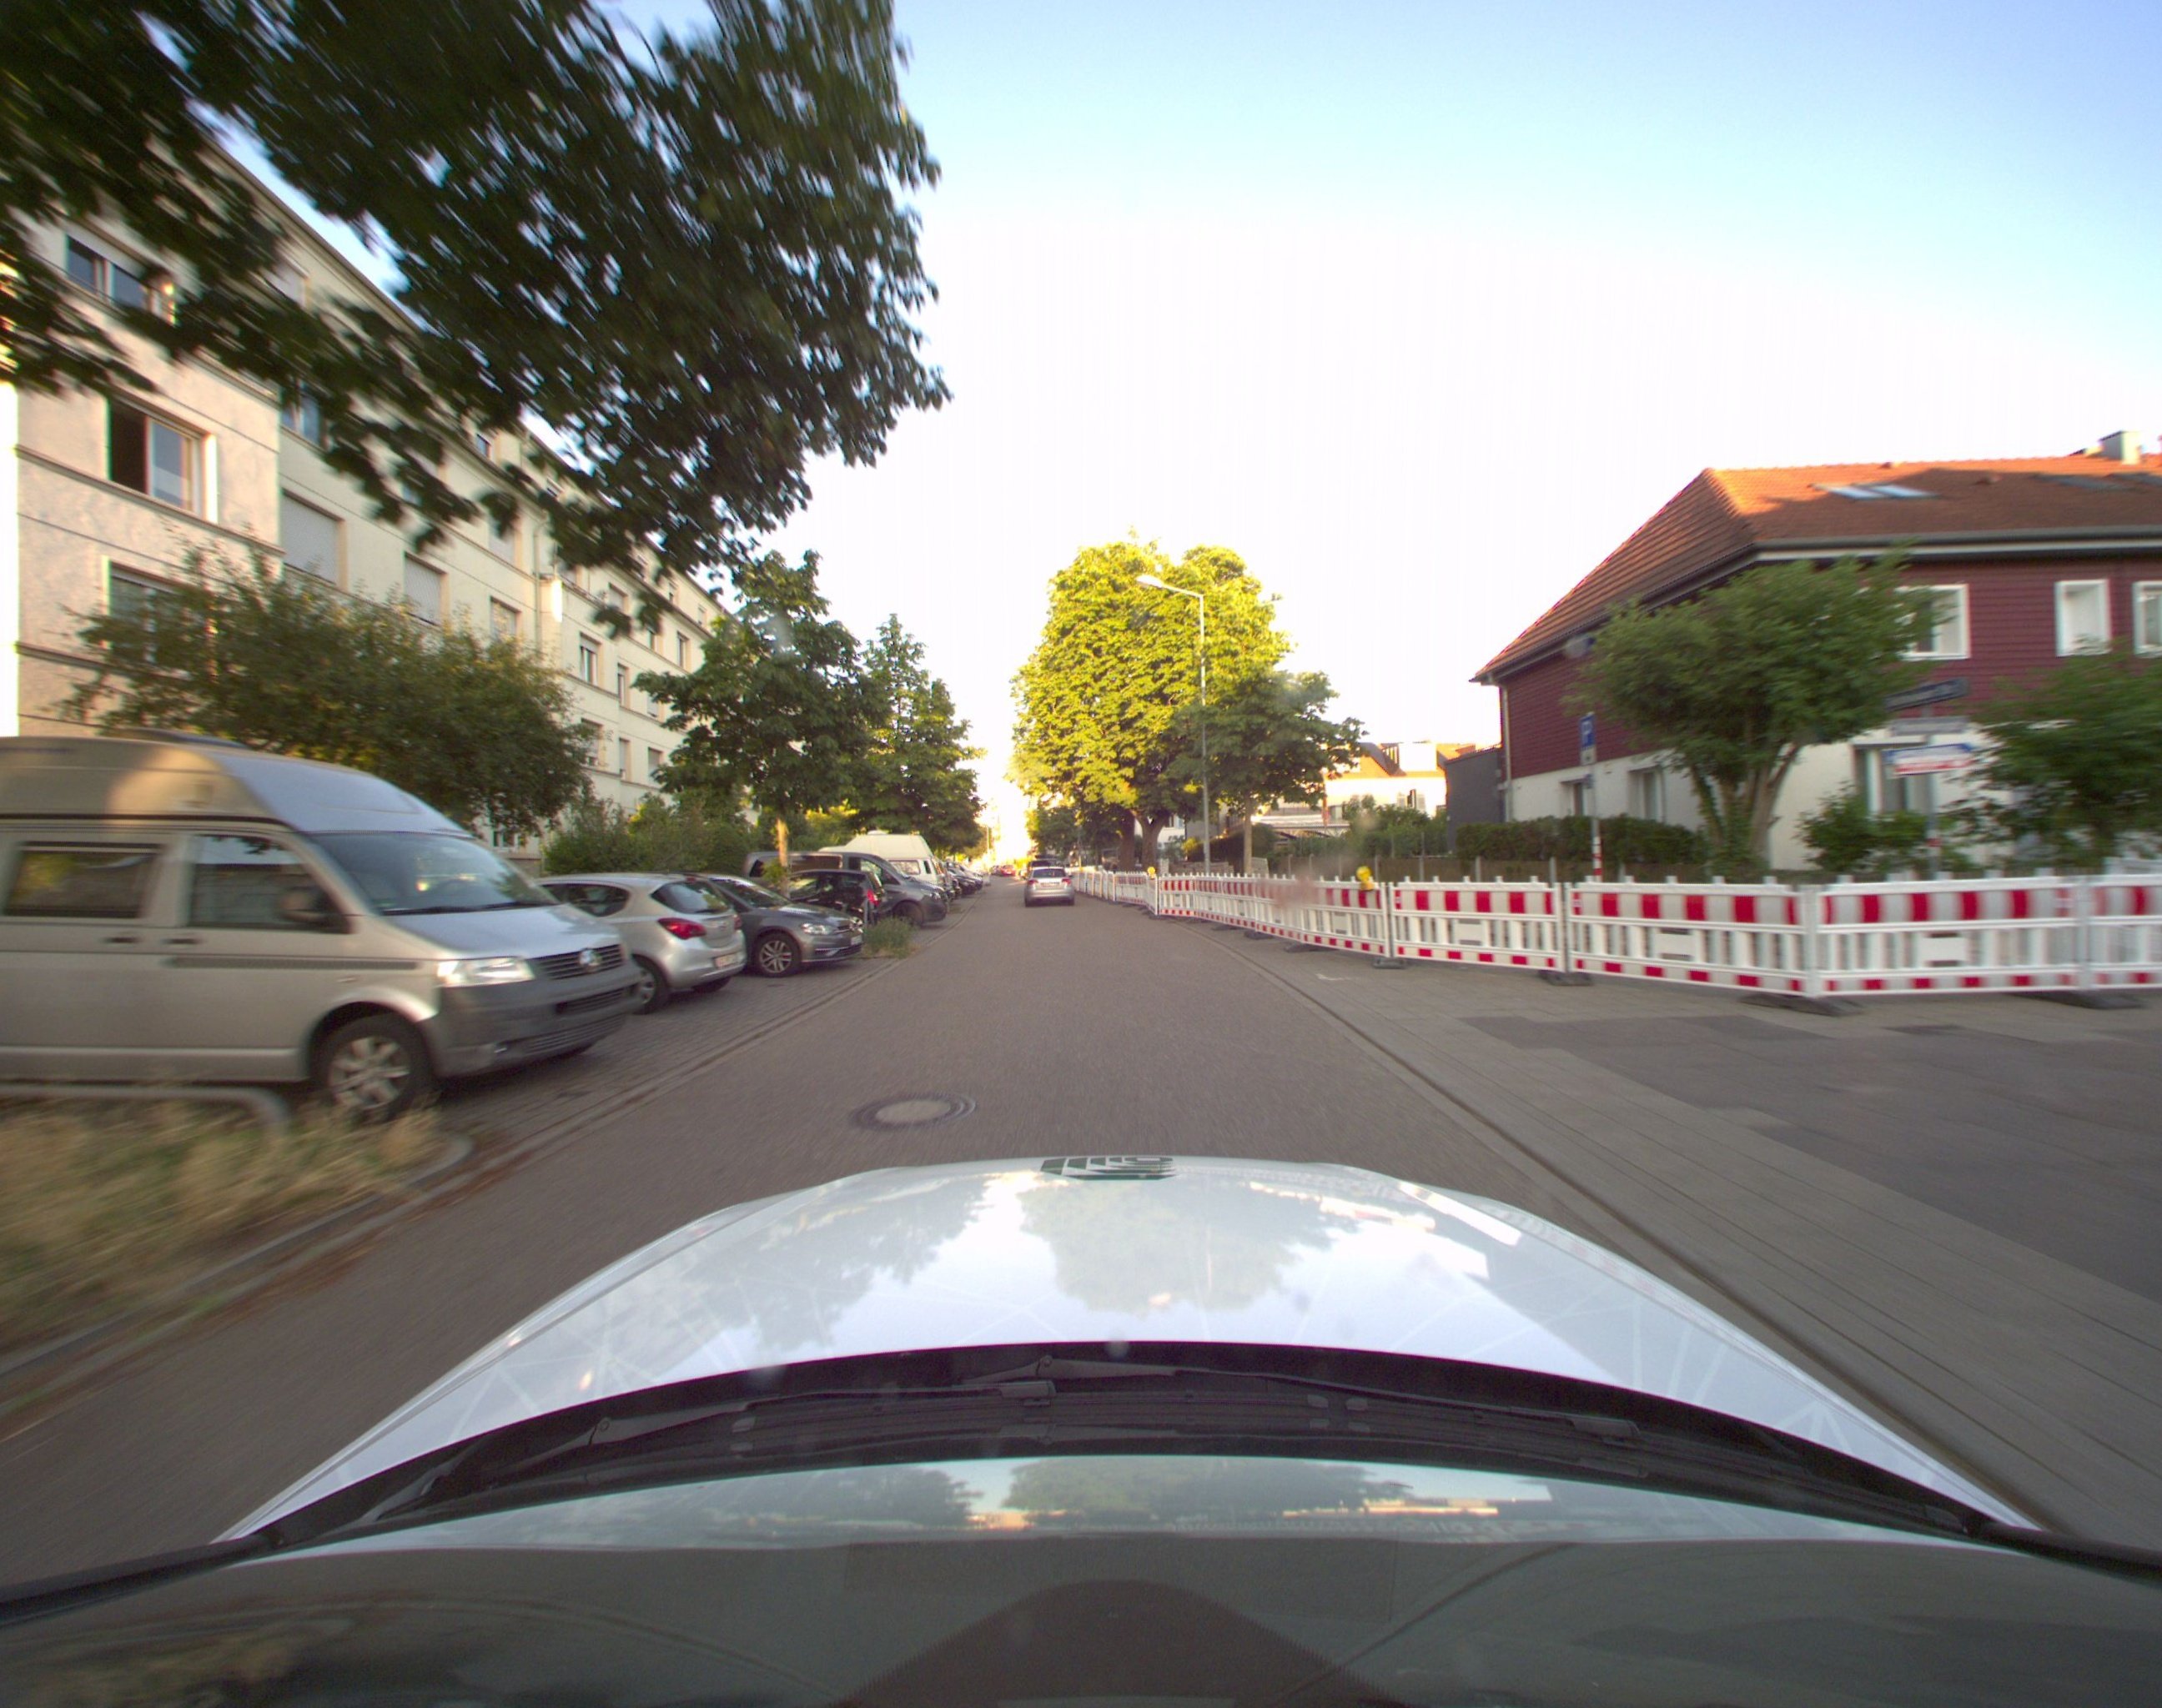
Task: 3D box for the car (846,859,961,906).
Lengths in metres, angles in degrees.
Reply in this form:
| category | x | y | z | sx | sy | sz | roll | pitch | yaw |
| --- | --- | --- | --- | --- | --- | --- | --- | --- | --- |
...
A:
| category | x | y | z | sx | sy | sz | roll | pitch | yaw |
| --- | --- | --- | --- | --- | --- | --- | --- | --- | --- |
| car | -6.485 | 1.008 | 30.023 | 3.852 | 1.595 | 1.783 | -1 | -1 | -3 |

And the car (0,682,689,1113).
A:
| category | x | y | z | sx | sy | sz | roll | pitch | yaw |
| --- | --- | --- | --- | --- | --- | --- | --- | --- | --- |
| car | -5.753 | 0.300 | 5.997 | 4.712 | 2.569 | 2.001 | -1 | -1 | 2 |

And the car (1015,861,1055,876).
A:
| category | x | y | z | sx | sy | sz | roll | pitch | yaw |
| --- | --- | --- | --- | --- | --- | --- | --- | --- | --- |
| car | -5.138 | 1.596 | 91.213 | 4.160 | 1.572 | 1.787 | -1 | -1 | -17 |

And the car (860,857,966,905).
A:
| category | x | y | z | sx | sy | sz | roll | pitch | yaw |
| --- | --- | --- | --- | --- | --- | --- | --- | --- | --- |
| car | -6.654 | 1.060 | 32.517 | 3.852 | 1.777 | 1.841 | -1 | -1 | -3 |

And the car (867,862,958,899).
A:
| category | x | y | z | sx | sy | sz | roll | pitch | yaw |
| --- | --- | --- | --- | --- | --- | --- | --- | --- | --- |
| car | -7.761 | 1.207 | 37.839 | 3.983 | 1.583 | 1.727 | -1 | -1 | -7 |

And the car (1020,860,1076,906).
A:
| category | x | y | z | sx | sy | sz | roll | pitch | yaw |
| --- | --- | --- | --- | --- | --- | --- | --- | --- | --- |
| car | -1.267 | 1.009 | 29.935 | 1.805 | 1.488 | 3.992 | -2 | 0 | -6 |

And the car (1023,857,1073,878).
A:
| category | x | y | z | sx | sy | sz | roll | pitch | yaw |
| --- | --- | --- | --- | --- | --- | --- | --- | --- | --- |
| car | -3.313 | 1.317 | 81.427 | 4.565 | 2.023 | 2.090 | -1 | -1 | -15 |

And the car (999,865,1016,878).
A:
| category | x | y | z | sx | sy | sz | roll | pitch | yaw |
| --- | --- | --- | --- | --- | --- | --- | --- | --- | --- |
| car | -8.898 | 2.158 | 98.569 | 1.731 | 1.483 | 3.544 | -1 | 0 | -11 |

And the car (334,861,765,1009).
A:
| category | x | y | z | sx | sy | sz | roll | pitch | yaw |
| --- | --- | --- | --- | --- | --- | --- | --- | --- | --- |
| car | -5.862 | 0.859 | 9.336 | 3.792 | 1.522 | 1.652 | 0 | -1 | -1 |

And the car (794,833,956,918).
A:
| category | x | y | z | sx | sy | sz | roll | pitch | yaw |
| --- | --- | --- | --- | --- | --- | --- | --- | --- | --- |
| car | -6.222 | 0.631 | 25.097 | 4.494 | 2.431 | 1.997 | -1 | -1 | -5 |

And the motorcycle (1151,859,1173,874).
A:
| category | x | y | z | sx | sy | sz | roll | pitch | yaw |
| --- | --- | --- | --- | --- | --- | --- | --- | --- | --- |
| motorcycle | 6.302 | 0.949 | 63.286 | 1.855 | 1.106 | 0.574 | -1 | -1 | -37 |

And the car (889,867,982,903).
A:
| category | x | y | z | sx | sy | sz | roll | pitch | yaw |
| --- | --- | --- | --- | --- | --- | --- | --- | --- | --- |
| car | -7.124 | 1.499 | 40.026 | 4.407 | 1.615 | 1.893 | -1 | -1 | -11 |

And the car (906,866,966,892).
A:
| category | x | y | z | sx | sy | sz | roll | pitch | yaw |
| --- | --- | --- | --- | --- | --- | --- | --- | --- | --- |
| car | -8.773 | 1.491 | 49.521 | 3.409 | 1.484 | 1.755 | -1 | -1 | -5 |

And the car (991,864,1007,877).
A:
| category | x | y | z | sx | sy | sz | roll | pitch | yaw |
| --- | --- | --- | --- | --- | --- | --- | --- | --- | --- |
| car | -11.025 | 2.170 | 108.802 | 1.809 | 1.613 | 3.567 | -1 | 0 | -11 |

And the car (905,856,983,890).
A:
| category | x | y | z | sx | sy | sz | roll | pitch | yaw |
| --- | --- | --- | --- | --- | --- | --- | --- | --- | --- |
| car | -8.697 | 1.179 | 51.950 | 4.768 | 2.014 | 1.995 | -1 | -1 | -7 |

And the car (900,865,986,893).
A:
| category | x | y | z | sx | sy | sz | roll | pitch | yaw |
| --- | --- | --- | --- | --- | --- | --- | --- | --- | --- |
| car | -7.865 | 1.418 | 46.865 | 4.767 | 1.470 | 1.876 | -1 | -1 | -7 |

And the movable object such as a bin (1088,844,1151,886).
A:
| category | x | y | z | sx | sy | sz | roll | pitch | yaw |
| --- | --- | --- | --- | --- | --- | --- | --- | --- | --- |
| movable object such as a bin | 2.289 | 0.656 | 50.048 | 2.630 | 2.403 | 5.177 | -1 | 0 | -11 |

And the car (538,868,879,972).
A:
| category | x | y | z | sx | sy | sz | roll | pitch | yaw |
| --- | --- | --- | --- | --- | --- | --- | --- | --- | --- |
| car | -5.320 | 0.916 | 12.017 | 4.228 | 1.394 | 1.684 | 0 | -1 | 1 |

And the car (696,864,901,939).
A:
| category | x | y | z | sx | sy | sz | roll | pitch | yaw |
| --- | --- | --- | --- | --- | --- | --- | --- | --- | --- |
| car | -5.877 | 0.961 | 17.254 | 3.760 | 1.439 | 1.654 | -1 | -1 | -3 |

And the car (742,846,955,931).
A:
| category | x | y | z | sx | sy | sz | roll | pitch | yaw |
| --- | --- | --- | --- | --- | --- | --- | --- | --- | --- |
| car | -5.549 | 0.803 | 20.002 | 4.665 | 1.873 | 1.997 | -1 | -1 | -5 |
